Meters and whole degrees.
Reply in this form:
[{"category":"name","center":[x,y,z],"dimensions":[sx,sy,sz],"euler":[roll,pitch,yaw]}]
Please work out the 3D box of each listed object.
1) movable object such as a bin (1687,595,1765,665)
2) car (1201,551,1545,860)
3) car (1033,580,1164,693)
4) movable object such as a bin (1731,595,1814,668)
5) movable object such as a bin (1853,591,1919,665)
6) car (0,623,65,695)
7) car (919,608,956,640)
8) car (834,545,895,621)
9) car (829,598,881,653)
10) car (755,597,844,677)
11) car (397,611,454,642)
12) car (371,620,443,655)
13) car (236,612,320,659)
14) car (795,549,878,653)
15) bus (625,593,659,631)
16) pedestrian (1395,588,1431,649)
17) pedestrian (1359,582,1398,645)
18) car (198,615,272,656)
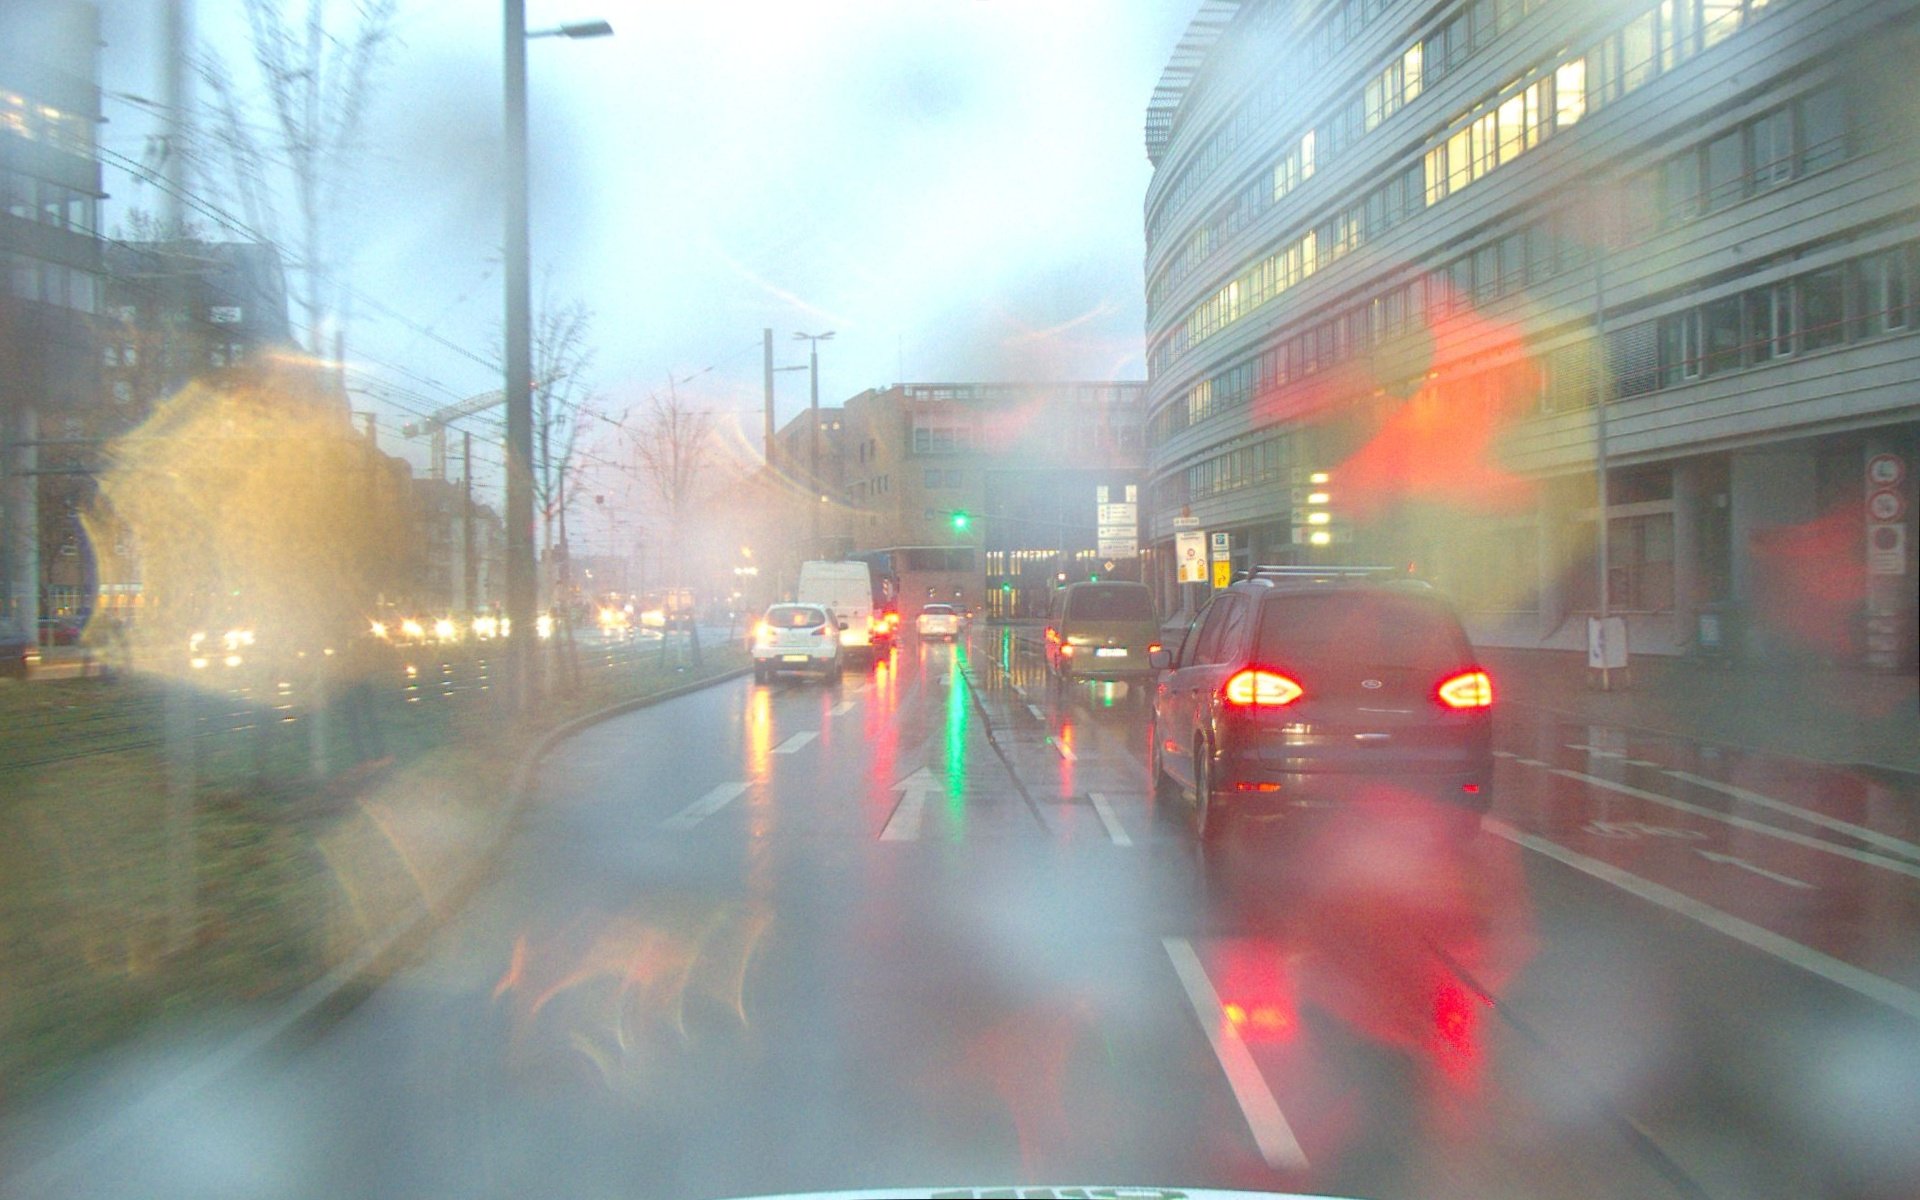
[{"category":"movable object such as a bin","center":[15.098,0.593,32.644],"dimensions":[0.829,1.316,1.165],"euler":[-3,0,-11]},{"category":"car","center":[2.741,0.627,11.814],"dimensions":[1.639,1.811,4.001],"euler":[0,0,3]},{"category":"car","center":[2.379,0.601,29.393],"dimensions":[1.806,1.837,4.485],"euler":[-1,0,-2]},{"category":"movable object such as a bin","center":[15.386,0.590,31.345],"dimensions":[0.829,1.316,1.165],"euler":[-3,0,-11]},{"category":"movable object such as a bin","center":[17.209,0.511,30.605],"dimensions":[0.716,1.328,0.961],"euler":[-3,0,-11]},{"category":"car","center":[-20.746,1.254,34.515],"dimensions":[1.776,1.467,3.958],"euler":[-1,0,4]},{"category":"car","center":[-0.932,1.001,69.997],"dimensions":[1.480,1.328,3.040],"euler":[-1,0,0]},{"category":"car","center":[-3.818,-0.641,66.138],"dimensions":[2.308,2.876,6.354],"euler":[-1,0,-4]},{"category":"car","center":[-3.149,0.766,49.375],"dimensions":[1.488,1.547,3.467],"euler":[-1,-1,-4]},{"category":"car","center":[-3.283,0.718,34.328],"dimensions":[1.606,1.522,3.684],"euler":[-1,0,-2]},{"category":"car","center":[-26.626,1.299,82.542],"dimensions":[1.956,1.475,4.307],"euler":[-1,0,-8]},{"category":"car","center":[-23.502,1.576,70.447],"dimensions":[1.694,1.417,4.198],"euler":[-1,0,-1]},{"category":"car","center":[-21.378,1.107,51.975],"dimensions":[1.477,1.397,3.647],"euler":[-1,-1,-7]},{"category":"car","center":[-3.220,0.029,42.614],"dimensions":[1.955,2.470,5.967],"euler":[-1,0,-5]},{"category":"bus","center":[-30.140,1.126,156.728],"dimensions":[2.775,3.431,7.971],"euler":[0,0,-14]},{"category":"pedestrian","center":[12.549,0.517,45.850],"dimensions":[0.711,1.653,0.902],"euler":[-1,-1,-1]},{"category":"pedestrian","center":[11.642,0.378,46.053],"dimensions":[0.776,1.715,1.068],"euler":[-1,0,-1]},{"category":"car","center":[-26.868,1.294,61.364],"dimensions":[1.477,1.426,3.544],"euler":[-1,0,-6]}]
